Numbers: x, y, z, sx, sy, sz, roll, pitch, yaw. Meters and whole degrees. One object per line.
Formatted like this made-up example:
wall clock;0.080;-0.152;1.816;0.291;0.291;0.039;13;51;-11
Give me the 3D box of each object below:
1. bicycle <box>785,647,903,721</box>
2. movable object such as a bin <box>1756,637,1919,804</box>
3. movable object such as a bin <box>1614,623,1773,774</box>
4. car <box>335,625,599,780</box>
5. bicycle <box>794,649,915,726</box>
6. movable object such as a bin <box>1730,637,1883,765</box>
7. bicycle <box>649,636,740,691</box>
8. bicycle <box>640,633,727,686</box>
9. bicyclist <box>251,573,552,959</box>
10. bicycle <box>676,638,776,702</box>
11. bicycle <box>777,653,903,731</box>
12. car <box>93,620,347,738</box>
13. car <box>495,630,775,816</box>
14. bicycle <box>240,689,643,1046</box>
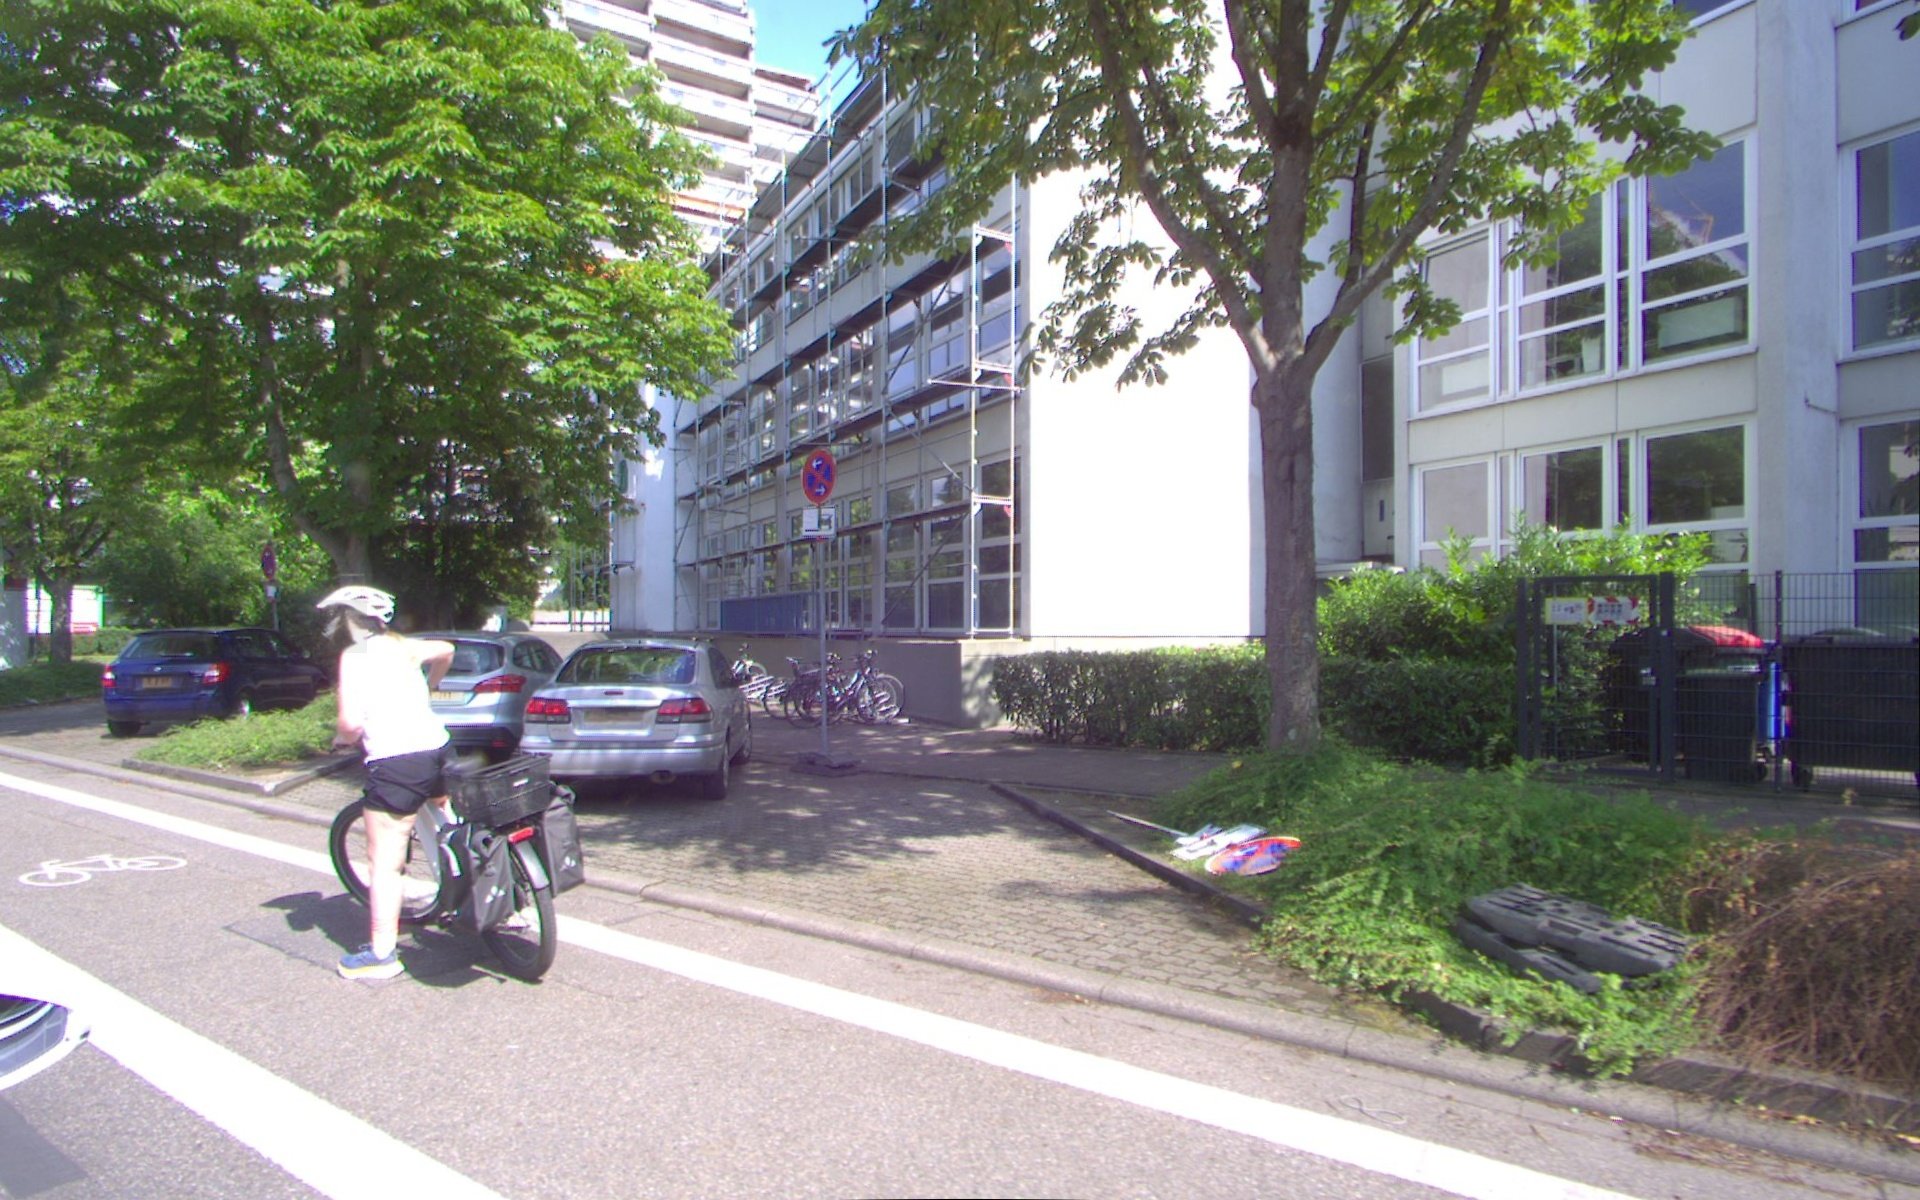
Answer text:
bicycle;-1.886;1.356;16.395;1.872;1.110;0.449;0;1;-26
movable object such as a bin;7.881;1.014;8.802;1.219;1.352;1.273;-1;-3;32
movable object such as a bin;7.826;1.013;10.696;1.250;1.499;0.933;2;-1;-30
car;-5.518;1.084;11.752;1.621;1.493;3.805;2;-2;-8
bicycle;-1.673;1.367;15.944;1.872;1.110;0.449;0;1;-26
movable object such as a bin;10.121;1.154;11.977;1.201;1.356;1.252;-1;1;-41
bicycle;-5.601;1.321;21.134;1.804;1.110;0.449;1;0;-26
bicycle;-6.121;1.297;22.203;1.804;1.110;0.449;0;0;-26
bicyclist;-2.632;0.697;4.727;1.072;1.548;0.886;-1;-3;39
bicycle;-4.454;1.322;19.114;1.804;1.111;0.449;0;3;-26
bicycle;-1.824;1.388;15.340;1.872;1.067;0.449;0;1;-26
car;-11.075;1.083;15.350;1.586;1.505;3.996;-1;0;-12
car;-2.959;1.041;10.060;1.690;1.438;4.244;1;-1;-4
bicycle;-2.432;1.038;4.568;2.110;1.140;0.871;-1;-2;39
